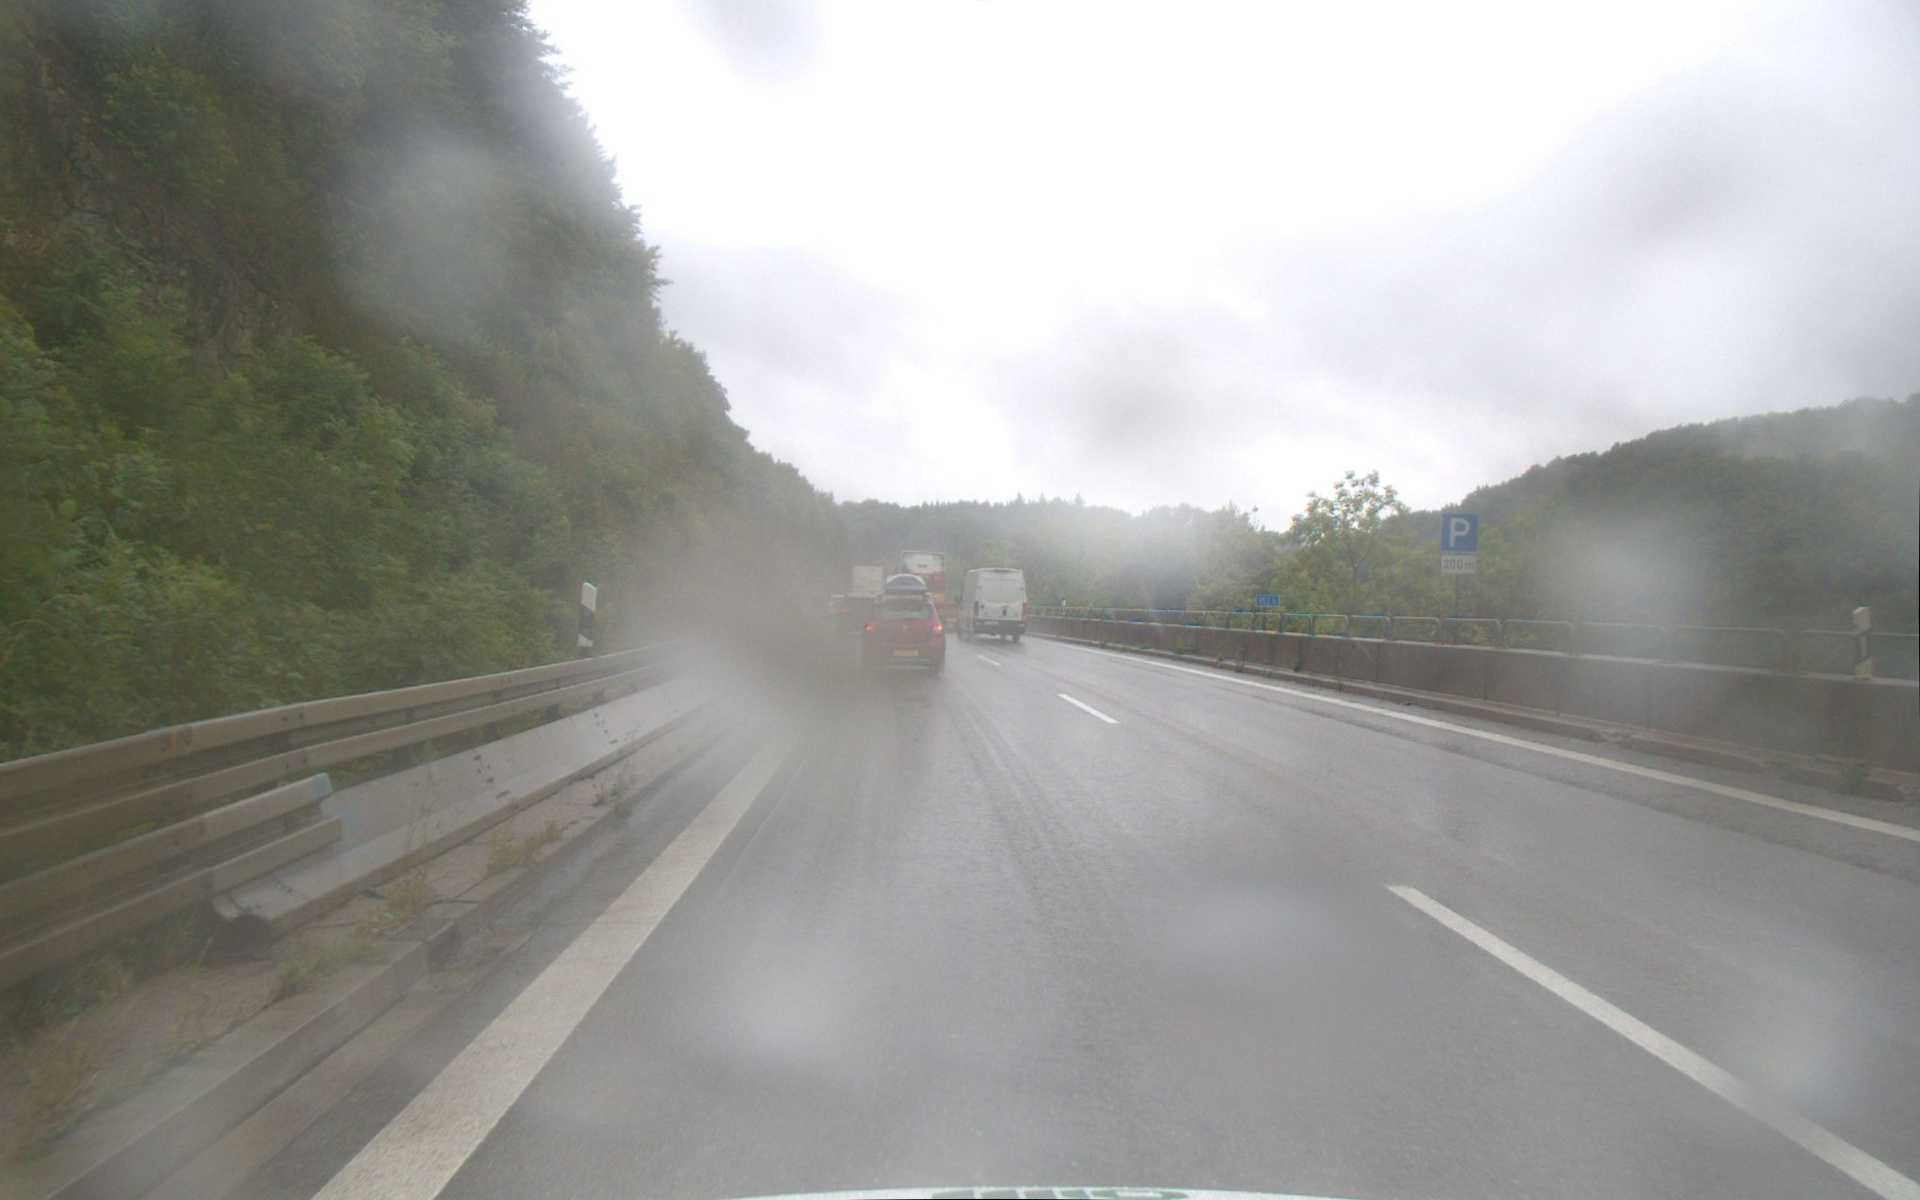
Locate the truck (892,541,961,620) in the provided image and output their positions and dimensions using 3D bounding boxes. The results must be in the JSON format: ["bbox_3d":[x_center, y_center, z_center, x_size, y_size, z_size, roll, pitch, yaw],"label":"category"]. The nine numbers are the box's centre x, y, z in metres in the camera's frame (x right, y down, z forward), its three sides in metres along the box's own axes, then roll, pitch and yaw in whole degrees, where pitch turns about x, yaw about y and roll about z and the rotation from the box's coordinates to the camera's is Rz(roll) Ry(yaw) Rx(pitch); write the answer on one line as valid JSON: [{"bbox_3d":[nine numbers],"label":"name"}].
[{"bbox_3d":[-1.869,-1.008,90.412,3.158,4.047,5.432,3,0,-6],"label":"truck"}]

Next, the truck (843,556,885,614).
[{"bbox_3d":[-8.213,-1.201,140.995,3.160,4.764,8.289,0,0,-6],"label":"truck"}]

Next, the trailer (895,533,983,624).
[{"bbox_3d":[-1.229,-0.994,83.938,3.156,4.068,13.507,3,0,-6],"label":"trailer"}]

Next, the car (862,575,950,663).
[{"bbox_3d":[-1.146,0.391,34.526,1.723,1.714,3.998,0,0,-2],"label":"car"}]

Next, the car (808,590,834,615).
[{"bbox_3d":[-11.925,0.234,142.310,1.953,2.049,3.998,0,0,-2],"label":"car"}]

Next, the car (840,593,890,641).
[{"bbox_3d":[-3.576,0.623,62.172,1.787,1.726,3.997,0,0,-4],"label":"car"}]

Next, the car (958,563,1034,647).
[{"bbox_3d":[1.271,0.178,62.431,2.162,2.842,7.378,4,0,-3],"label":"car"}]

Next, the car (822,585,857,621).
[{"bbox_3d":[-6.426,0.148,87.890,1.683,1.849,3.887,0,0,-7],"label":"car"}]
